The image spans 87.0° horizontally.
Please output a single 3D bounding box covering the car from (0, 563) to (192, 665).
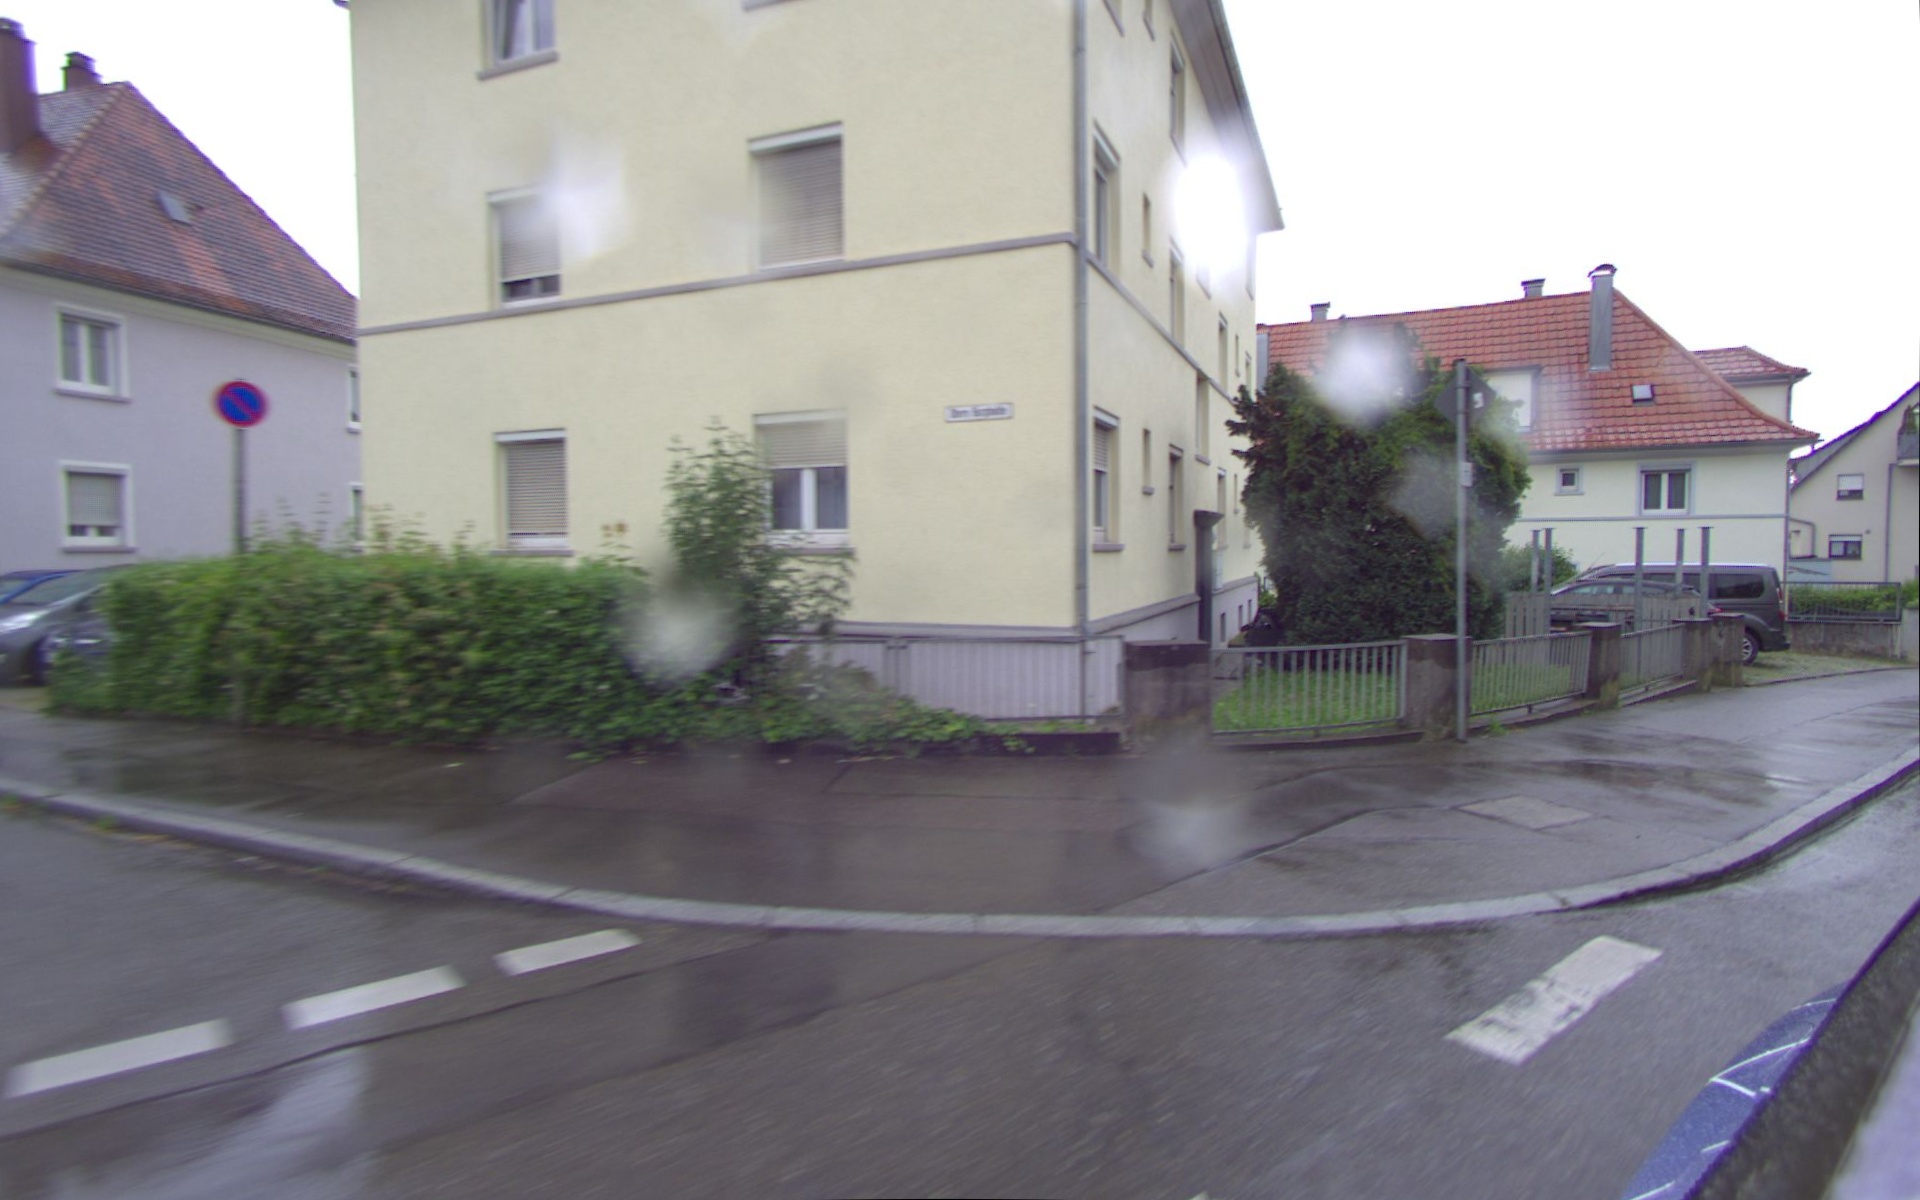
[{"bbox_3d":[-14.226,0.180,15.207,1.700,1.425,4.074,0,2,16],"label":"car"}]

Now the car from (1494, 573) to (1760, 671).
[{"bbox_3d":[11.298,0.308,17.449,3.486,1.355,1.676,3,4,23],"label":"car"}]

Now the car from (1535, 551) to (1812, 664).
[{"bbox_3d":[13.209,0.050,19.062,3.894,1.803,1.757,3,4,25],"label":"car"}]

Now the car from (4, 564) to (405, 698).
[{"bbox_3d":[-9.580,0.275,13.264,1.702,1.462,3.949,0,2,19],"label":"car"}]

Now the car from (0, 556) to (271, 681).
[{"bbox_3d":[-11.962,0.165,14.066,1.702,1.518,3.661,0,2,19],"label":"car"}]
